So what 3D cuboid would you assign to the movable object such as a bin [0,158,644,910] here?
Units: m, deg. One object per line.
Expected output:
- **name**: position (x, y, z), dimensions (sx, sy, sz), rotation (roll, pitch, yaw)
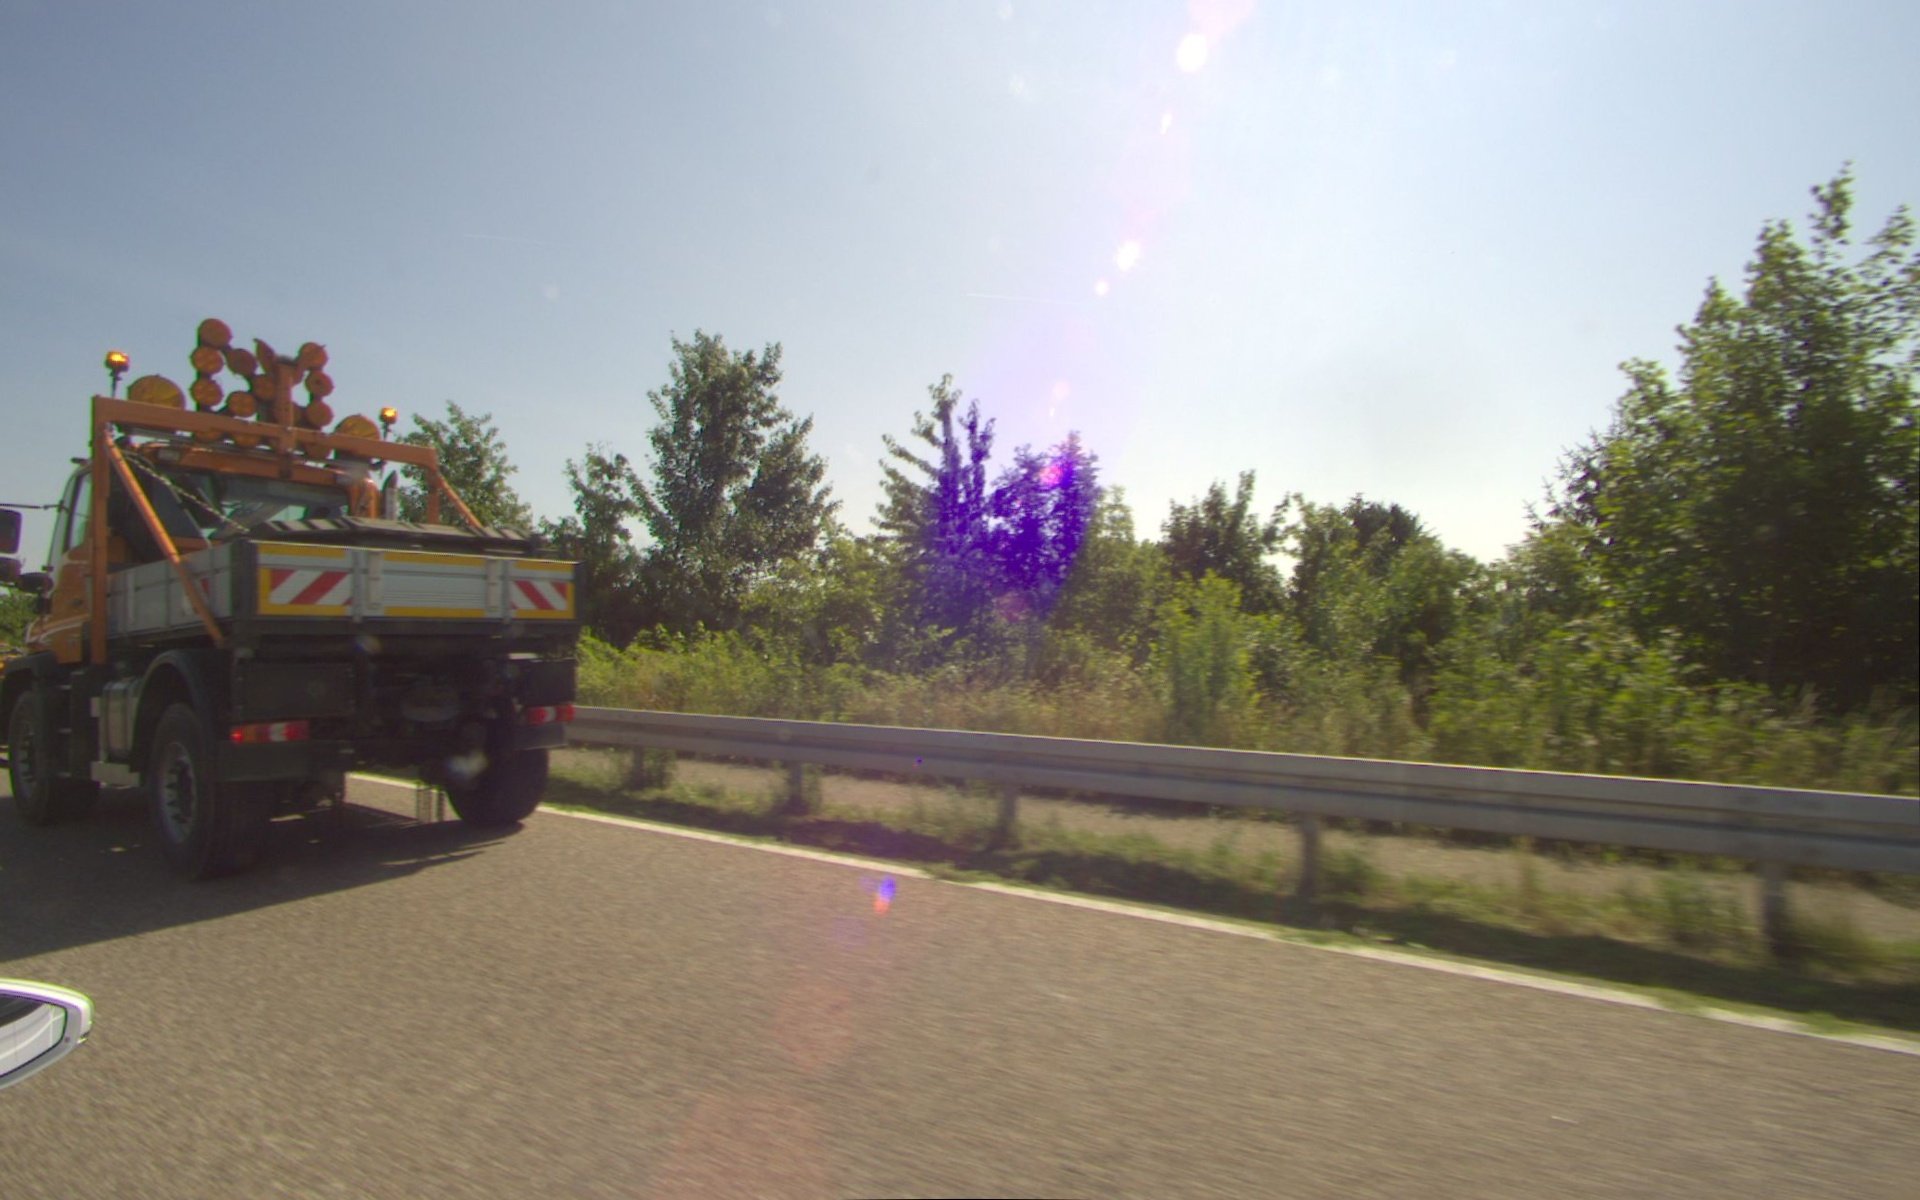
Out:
- **movable object such as a bin**: position (-6.923, -0.250, 9.020), dimensions (9.319, 3.889, 2.746), rotation (-1, -1, 36)
